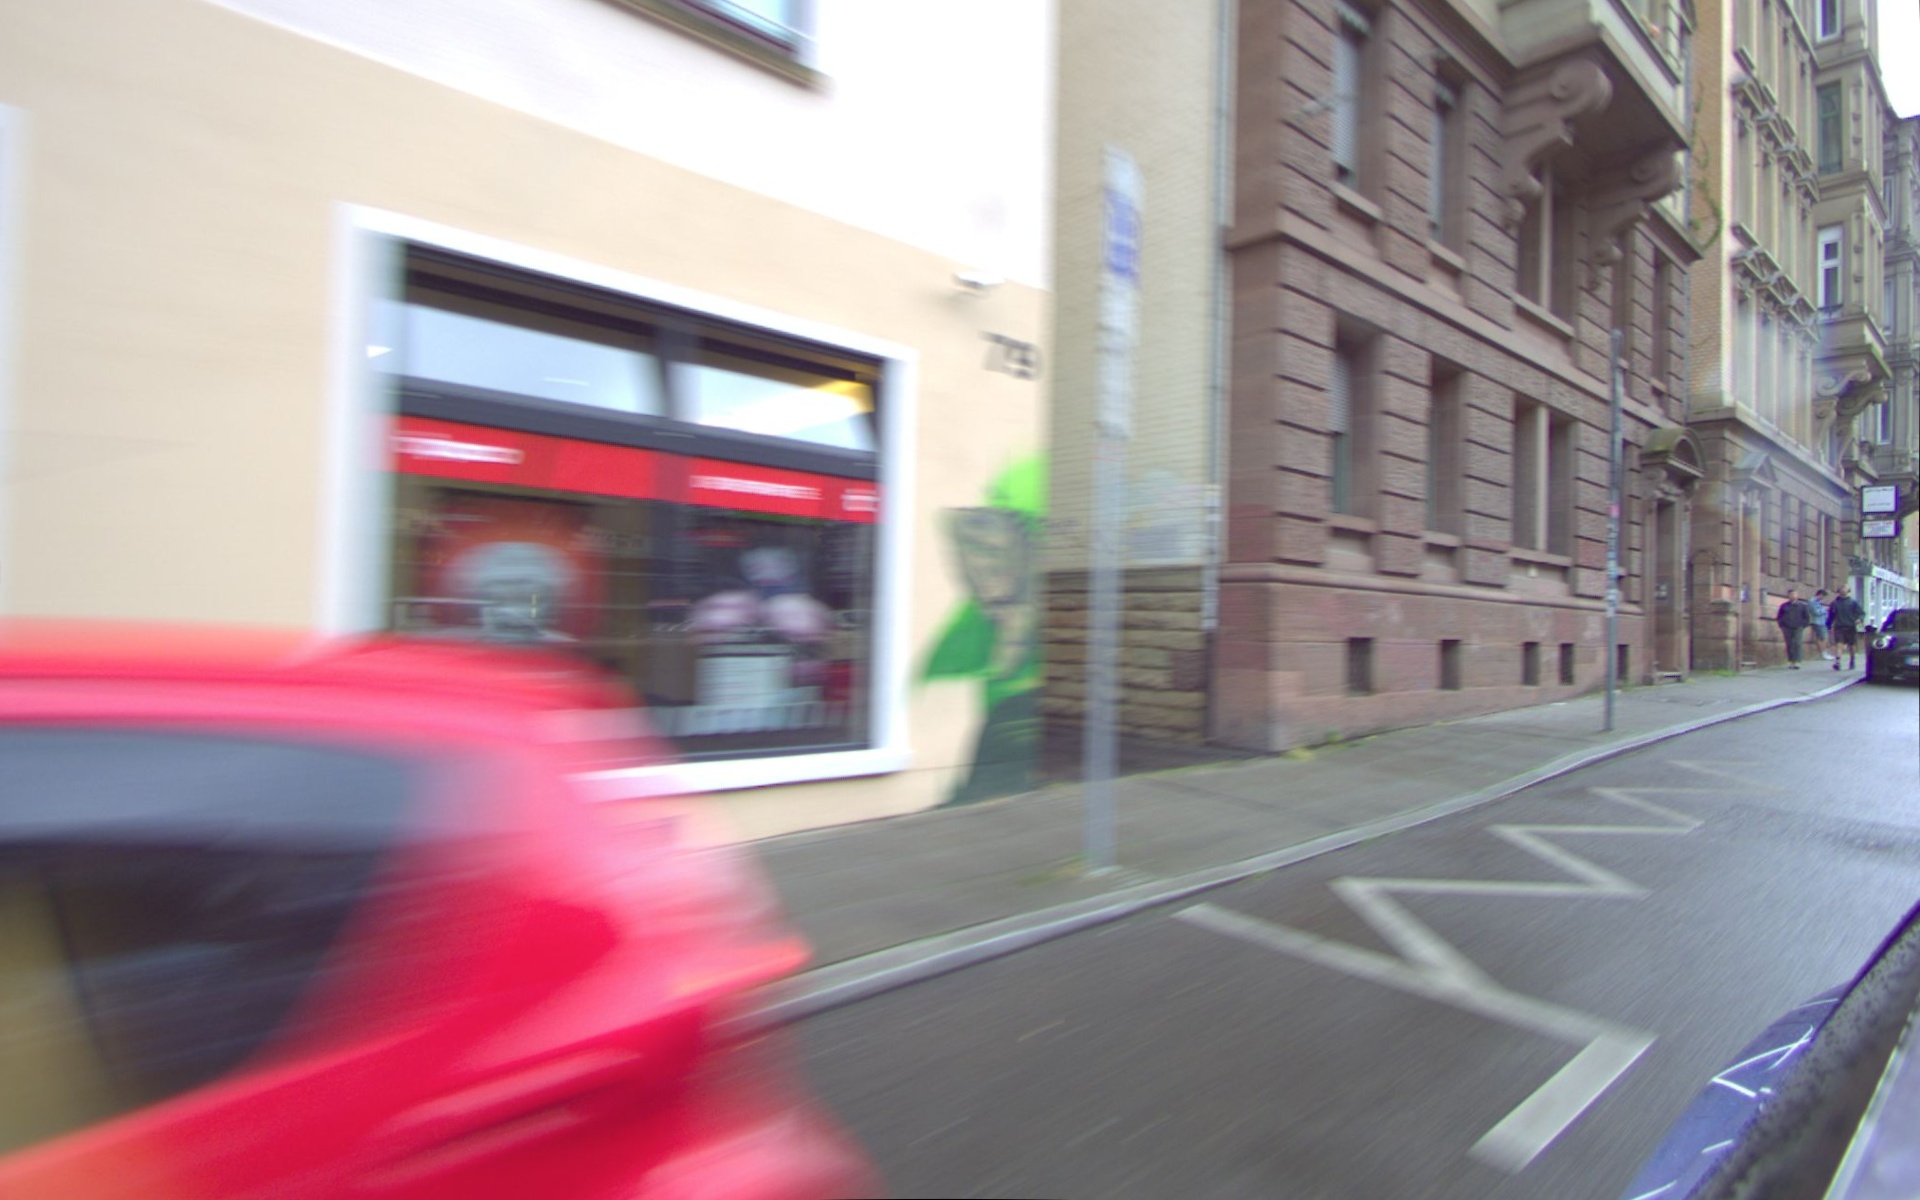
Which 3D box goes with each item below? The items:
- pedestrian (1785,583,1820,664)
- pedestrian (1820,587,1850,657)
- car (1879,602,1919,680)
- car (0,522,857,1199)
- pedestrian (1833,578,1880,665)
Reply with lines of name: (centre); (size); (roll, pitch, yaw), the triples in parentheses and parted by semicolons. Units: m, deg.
pedestrian: (17.778, 0.485, 21.353); (0.620, 1.665, 0.488); (0, 1, -45)
pedestrian: (21.314, 0.519, 24.648); (0.456, 1.665, 0.484); (0, 1, -44)
car: (18.423, 0.729, 18.823); (3.764, 1.368, 1.626); (0, 1, -42)
car: (-1.985, 0.659, 0.972); (3.384, 1.480, 1.719); (0, 1, -40)
pedestrian: (18.822, 0.434, 21.245); (0.868, 1.784, 0.652); (0, 1, -45)
